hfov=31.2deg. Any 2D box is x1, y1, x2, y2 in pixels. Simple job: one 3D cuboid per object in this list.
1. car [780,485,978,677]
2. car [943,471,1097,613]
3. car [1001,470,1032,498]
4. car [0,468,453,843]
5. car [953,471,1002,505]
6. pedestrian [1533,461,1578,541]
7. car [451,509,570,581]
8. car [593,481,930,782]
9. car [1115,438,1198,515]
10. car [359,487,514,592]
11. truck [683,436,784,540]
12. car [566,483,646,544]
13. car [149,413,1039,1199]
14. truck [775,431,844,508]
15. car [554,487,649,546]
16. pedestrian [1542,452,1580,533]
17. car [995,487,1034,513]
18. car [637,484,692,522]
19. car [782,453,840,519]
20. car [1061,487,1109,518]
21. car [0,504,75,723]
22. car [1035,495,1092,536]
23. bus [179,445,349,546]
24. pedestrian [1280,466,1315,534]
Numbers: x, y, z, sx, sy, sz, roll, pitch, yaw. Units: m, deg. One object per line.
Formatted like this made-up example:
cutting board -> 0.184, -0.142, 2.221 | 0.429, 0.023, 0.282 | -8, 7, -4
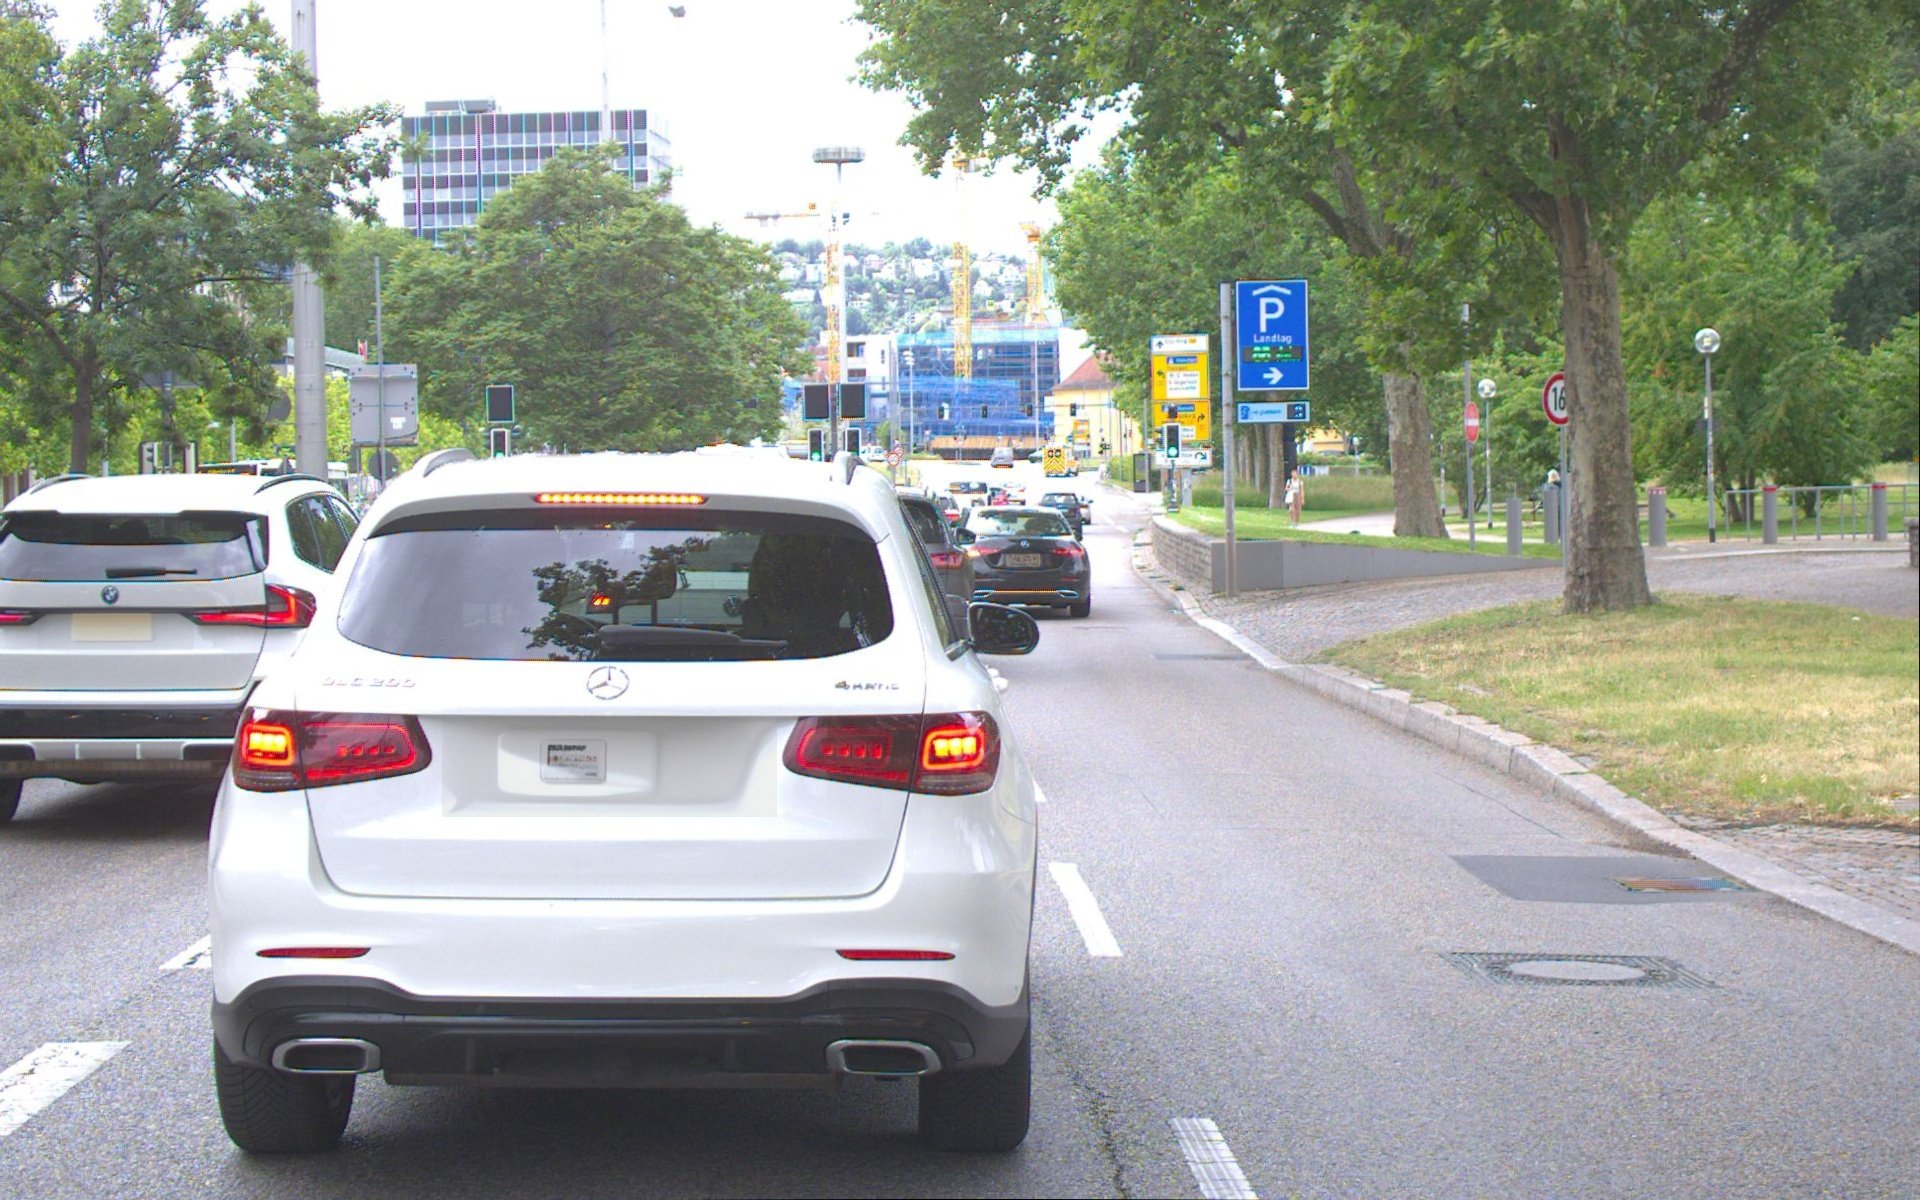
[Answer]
car -> -0.781, -0.208, 31.056 | 1.659, 1.633, 3.548 | 0, 1, -3
car -> 0.740, -0.787, 44.836 | 1.825, 1.746, 4.001 | -1, 2, -1
car -> 3.433, -7.057, 209.486 | 1.758, 1.663, 4.168 | -1, 2, -1
car -> -3.821, 0.188, 17.316 | 1.851, 1.622, 4.907 | 0, 1, 0
car -> 0.697, -4.444, 136.693 | 1.947, 1.315, 4.017 | 0, 1, 0
pedestrian -> 12.019, -1.995, 69.383 | 0.640, 1.605, 0.661 | 1, 2, 43
car -> -8.433, -1.046, 64.714 | 1.659, 1.315, 3.547 | 0, 1, 2
car -> -1.232, 0.116, 20.233 | 1.795, 1.603, 3.756 | 0, 1, -5
car -> 5.191, -3.256, 91.322 | 1.993, 2.007, 4.000 | 0, 1, 0
car -> -7.535, -0.909, 49.781 | 1.776, 1.415, 4.001 | -1, 2, -2
truck -> -6.427, -3.206, 98.430 | 2.620, 2.851, 7.080 | 0, 2, -2
car -> -8.989, -2.213, 87.612 | 1.659, 1.508, 3.548 | -1, 2, 0
car -> -0.774, 0.410, 9.196 | 1.788, 1.619, 4.437 | 1, 1, -1
truck -> -6.109, -5.270, 140.040 | 2.691, 2.981, 5.638 | 1, 1, -2
car -> -8.129, -1.913, 78.255 | 1.659, 1.315, 3.547 | 0, 1, 2
pedestrian -> 13.018, -2.328, 74.457 | 0.759, 1.719, 0.699 | -1, 2, 7
car -> 2.749, -5.055, 173.485 | 1.947, 1.315, 4.017 | 0, 1, 0
car -> -10.535, -3.464, 122.681 | 1.659, 1.315, 3.548 | 0, 1, 0
car -> -5.743, -4.411, 132.675 | 1.993, 2.467, 4.000 | -1, 2, 1
car -> 5.425, -4.242, 149.300 | 1.947, 1.315, 4.017 | 0, 1, 0
car -> -7.116, 0.084, 22.599 | 1.661, 1.431, 3.961 | 0, 1, -1
car -> 3.668, -3.006, 122.307 | 1.947, 1.423, 4.017 | 0, 1, 0
bus -> -23.657, -3.594, 117.788 | 3.667, 3.194, 14.276 | -1, 2, -3
pedestrian -> 9.957, -2.954, 101.409 | 0.761, 2.006, 0.697 | 0, 2, 35
